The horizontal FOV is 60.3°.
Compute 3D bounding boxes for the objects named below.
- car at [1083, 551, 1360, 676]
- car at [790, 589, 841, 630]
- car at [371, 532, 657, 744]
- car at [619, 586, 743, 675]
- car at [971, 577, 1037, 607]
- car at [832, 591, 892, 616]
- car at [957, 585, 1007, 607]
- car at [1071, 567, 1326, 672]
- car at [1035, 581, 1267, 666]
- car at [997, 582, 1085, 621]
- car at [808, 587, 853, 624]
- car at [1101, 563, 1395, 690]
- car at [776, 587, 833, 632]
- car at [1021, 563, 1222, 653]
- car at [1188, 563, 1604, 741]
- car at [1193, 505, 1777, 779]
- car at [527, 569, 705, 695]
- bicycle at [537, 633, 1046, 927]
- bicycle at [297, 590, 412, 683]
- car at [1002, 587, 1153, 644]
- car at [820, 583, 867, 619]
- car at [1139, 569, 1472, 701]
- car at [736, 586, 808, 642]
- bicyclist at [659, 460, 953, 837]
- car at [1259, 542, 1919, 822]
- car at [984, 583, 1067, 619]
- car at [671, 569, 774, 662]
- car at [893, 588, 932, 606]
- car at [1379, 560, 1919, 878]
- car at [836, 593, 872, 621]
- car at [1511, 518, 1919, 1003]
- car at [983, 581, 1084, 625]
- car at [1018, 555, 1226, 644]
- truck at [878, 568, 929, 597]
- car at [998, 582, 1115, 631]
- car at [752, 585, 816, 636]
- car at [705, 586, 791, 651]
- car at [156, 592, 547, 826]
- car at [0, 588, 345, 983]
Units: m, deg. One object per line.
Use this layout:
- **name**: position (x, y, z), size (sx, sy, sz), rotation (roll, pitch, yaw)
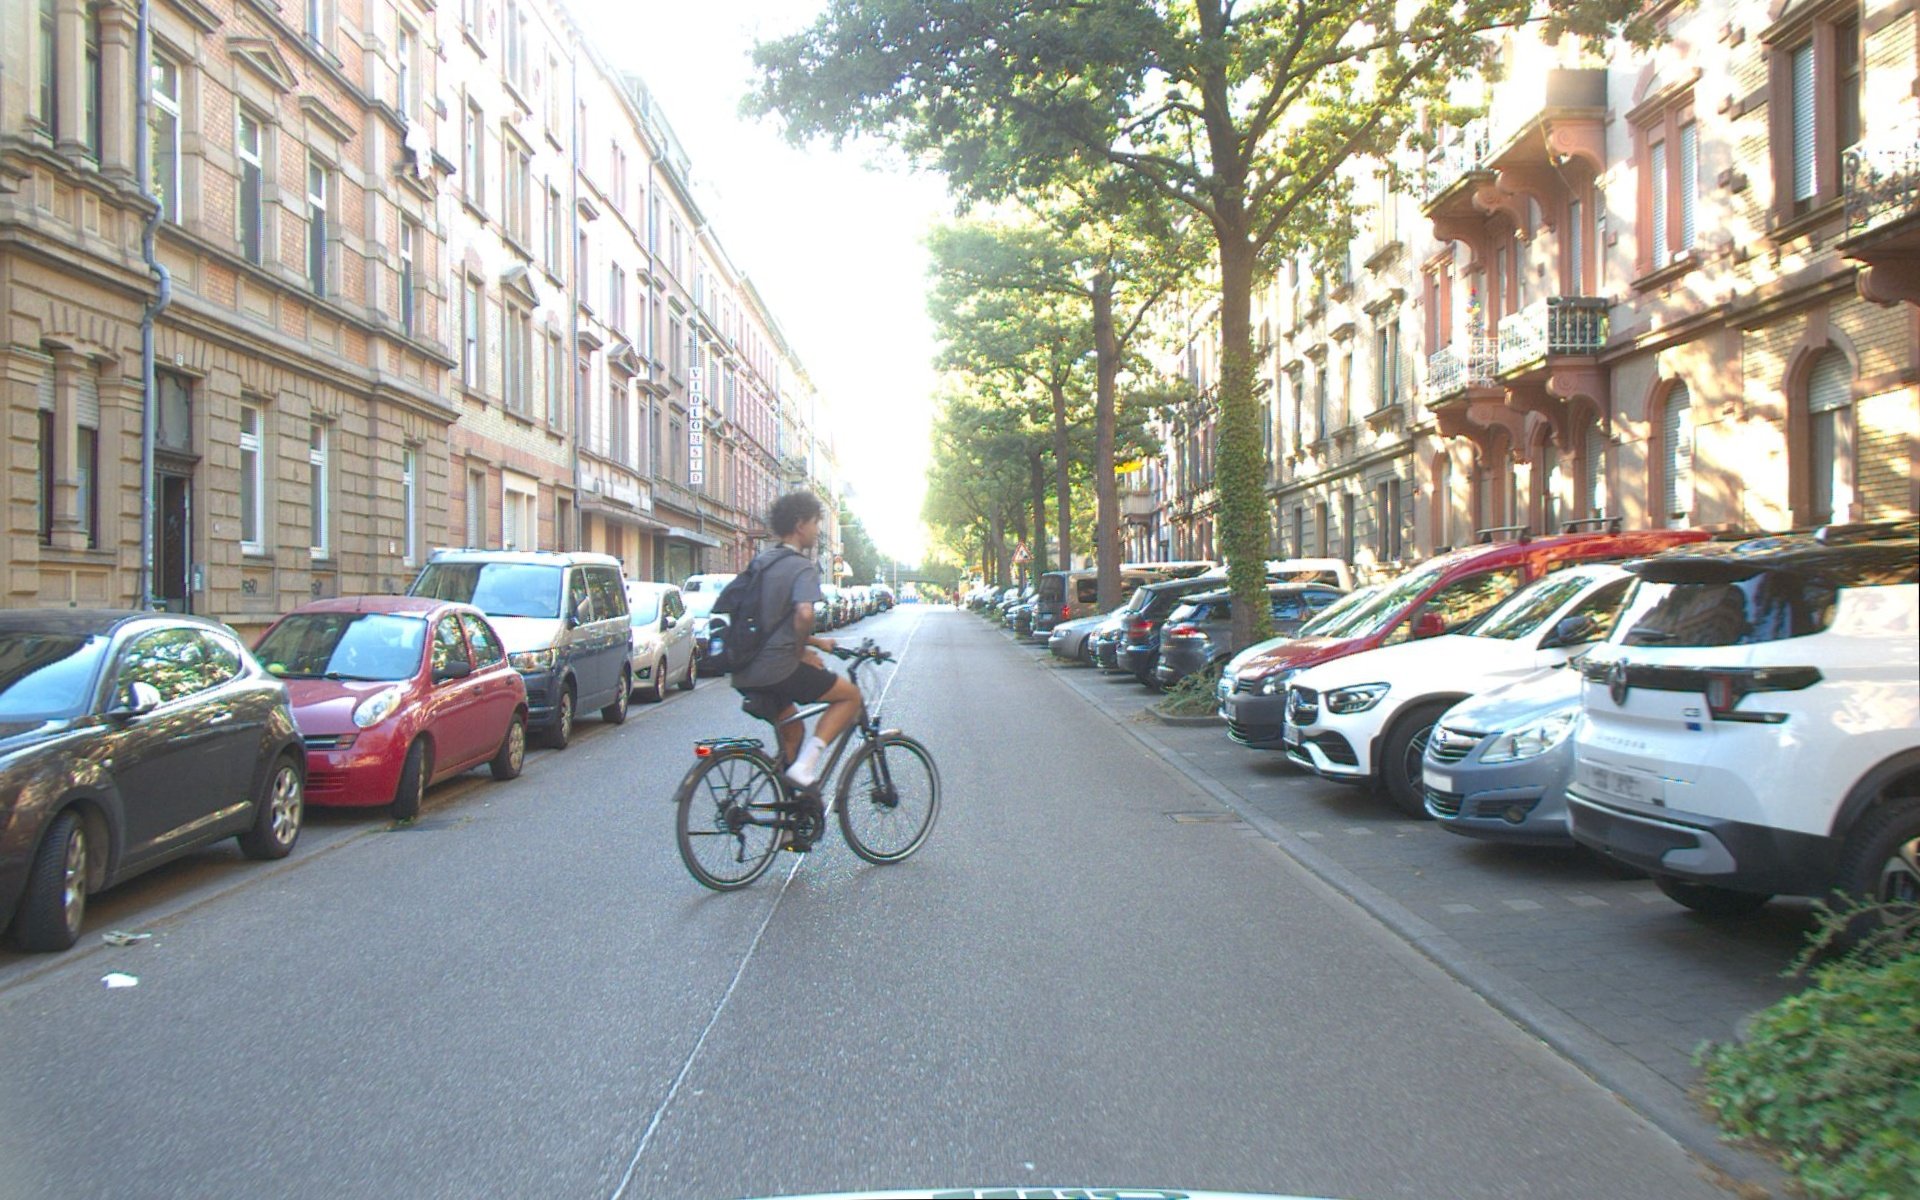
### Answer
- **car**: position (4.189, 0.204, 26.956), size (4.136, 1.807, 1.834), rotation (-2, 0, -2)
- **car**: position (-5.450, 0.339, 62.783), size (1.723, 1.498, 4.057), rotation (-1, 0, -2)
- **car**: position (-4.738, 0.347, 18.420), size (1.795, 1.977, 5.259), rotation (1, 0, -1)
- **car**: position (-5.074, 0.512, 30.555), size (1.723, 1.493, 3.998), rotation (2, 0, -2)
- **car**: position (2.616, -0.484, 98.660), size (3.773, 1.601, 1.717), rotation (-2, 0, -2)
- **car**: position (-6.234, 0.258, 105.748), size (1.957, 1.512, 3.991), rotation (-2, -2, 31)
- **car**: position (1.704, -0.323, 128.950), size (3.773, 1.601, 1.717), rotation (-2, 0, -2)
- **car**: position (4.225, 0.322, 29.661), size (4.142, 1.639, 1.831), rotation (-2, 0, -9)
- **car**: position (3.641, 0.434, 32.025), size (4.139, 1.428, 1.833), rotation (-2, 0, -6)
- **car**: position (3.725, 0.049, 76.294), size (3.779, 1.601, 1.714), rotation (-2, 0, -9)
- **car**: position (-5.405, 0.205, 69.280), size (1.723, 1.498, 4.057), rotation (-1, 0, -2)
- **car**: position (4.151, 0.375, 24.246), size (3.929, 1.635, 1.733), rotation (-2, 0, -2)
- **car**: position (-5.421, 0.295, 58.016), size (1.723, 1.498, 4.057), rotation (-1, 0, -2)
- **car**: position (3.664, 0.161, 37.664), size (4.160, 1.826, 1.824), rotation (-3, 0, -21)
- **car**: position (4.306, 0.462, 16.661), size (3.589, 1.480, 1.847), rotation (-3, 1, -7)
- **car**: position (4.378, 0.307, 14.211), size (4.356, 1.957, 1.849), rotation (-3, 1, -4)
- **car**: position (-4.947, 0.419, 24.354), size (1.718, 1.636, 4.383), rotation (1, 0, -1)
- **bicycle**: position (-0.762, 0.828, 8.795), size (0.979, 1.178, 2.911), rotation (-1, 1, 36)
- **bicycle**: position (-8.903, 0.503, 24.470), size (0.725, 1.277, 2.826), rotation (1, 0, -2)
- **car**: position (3.116, 0.396, 44.249), size (3.775, 1.316, 1.716), rotation (-2, 0, -5)
- **car**: position (-5.282, 0.068, 75.302), size (1.953, 1.512, 3.998), rotation (-1, -2, -2)
- **car**: position (4.427, 0.444, 21.587), size (3.929, 1.493, 1.733), rotation (-2, 0, -2)
- **car**: position (-5.292, 0.371, 46.897), size (1.723, 1.498, 4.057), rotation (-1, 0, -2)
- **bicyclist**: position (-0.801, 0.224, 8.775), size (0.979, 1.821, 1.203), rotation (-1, 1, 37)
- **car**: position (4.438, 0.499, 11.632), size (4.257, 1.583, 1.850), rotation (-3, 1, -2)
- **car**: position (3.191, 0.039, 80.928), size (3.779, 1.601, 1.714), rotation (-2, 0, -9)
- **car**: position (-5.068, 0.294, 35.749), size (1.723, 1.874, 4.528), rotation (-1, 0, -2)
- **car**: position (-4.973, -0.316, 174.642), size (3.902, 1.891, 1.752), rotation (1, 0, 7)
- **car**: position (4.564, 0.556, 9.223), size (3.930, 1.459, 1.794), rotation (-3, 0, -2)
- **car**: position (-6.083, 0.439, 95.419), size (1.953, 1.512, 3.998), rotation (-1, -2, -2)
- **car**: position (4.546, 0.496, 6.749), size (3.930, 1.656, 1.804), rotation (-2, 0, -3)
- **car**: position (2.942, 0.107, 66.536), size (3.779, 1.601, 1.714), rotation (-2, 0, -9)
- **car**: position (4.007, -0.018, 41.407), size (4.954, 1.959, 1.835), rotation (-2, 0, -1)
- **truck**: position (-8.051, -2.474, 234.731), size (7.170, 4.019, 2.404), rotation (2, 0, -38)
- **car**: position (3.277, 0.207, 56.585), size (3.775, 1.505, 1.716), rotation (-2, 0, -5)
- **car**: position (-5.467, 0.303, 51.762), size (1.723, 1.498, 4.057), rotation (-1, 0, -2)
- **car**: position (-5.175, 0.412, 40.799), size (1.723, 1.498, 4.057), rotation (-1, 0, -2)
- **car**: position (-4.471, 0.707, 12.744), size (1.560, 1.501, 3.700), rotation (1, 0, 1)
- **car**: position (-4.675, 0.719, 8.291), size (1.723, 1.527, 4.058), rotation (1, 0, -2)
